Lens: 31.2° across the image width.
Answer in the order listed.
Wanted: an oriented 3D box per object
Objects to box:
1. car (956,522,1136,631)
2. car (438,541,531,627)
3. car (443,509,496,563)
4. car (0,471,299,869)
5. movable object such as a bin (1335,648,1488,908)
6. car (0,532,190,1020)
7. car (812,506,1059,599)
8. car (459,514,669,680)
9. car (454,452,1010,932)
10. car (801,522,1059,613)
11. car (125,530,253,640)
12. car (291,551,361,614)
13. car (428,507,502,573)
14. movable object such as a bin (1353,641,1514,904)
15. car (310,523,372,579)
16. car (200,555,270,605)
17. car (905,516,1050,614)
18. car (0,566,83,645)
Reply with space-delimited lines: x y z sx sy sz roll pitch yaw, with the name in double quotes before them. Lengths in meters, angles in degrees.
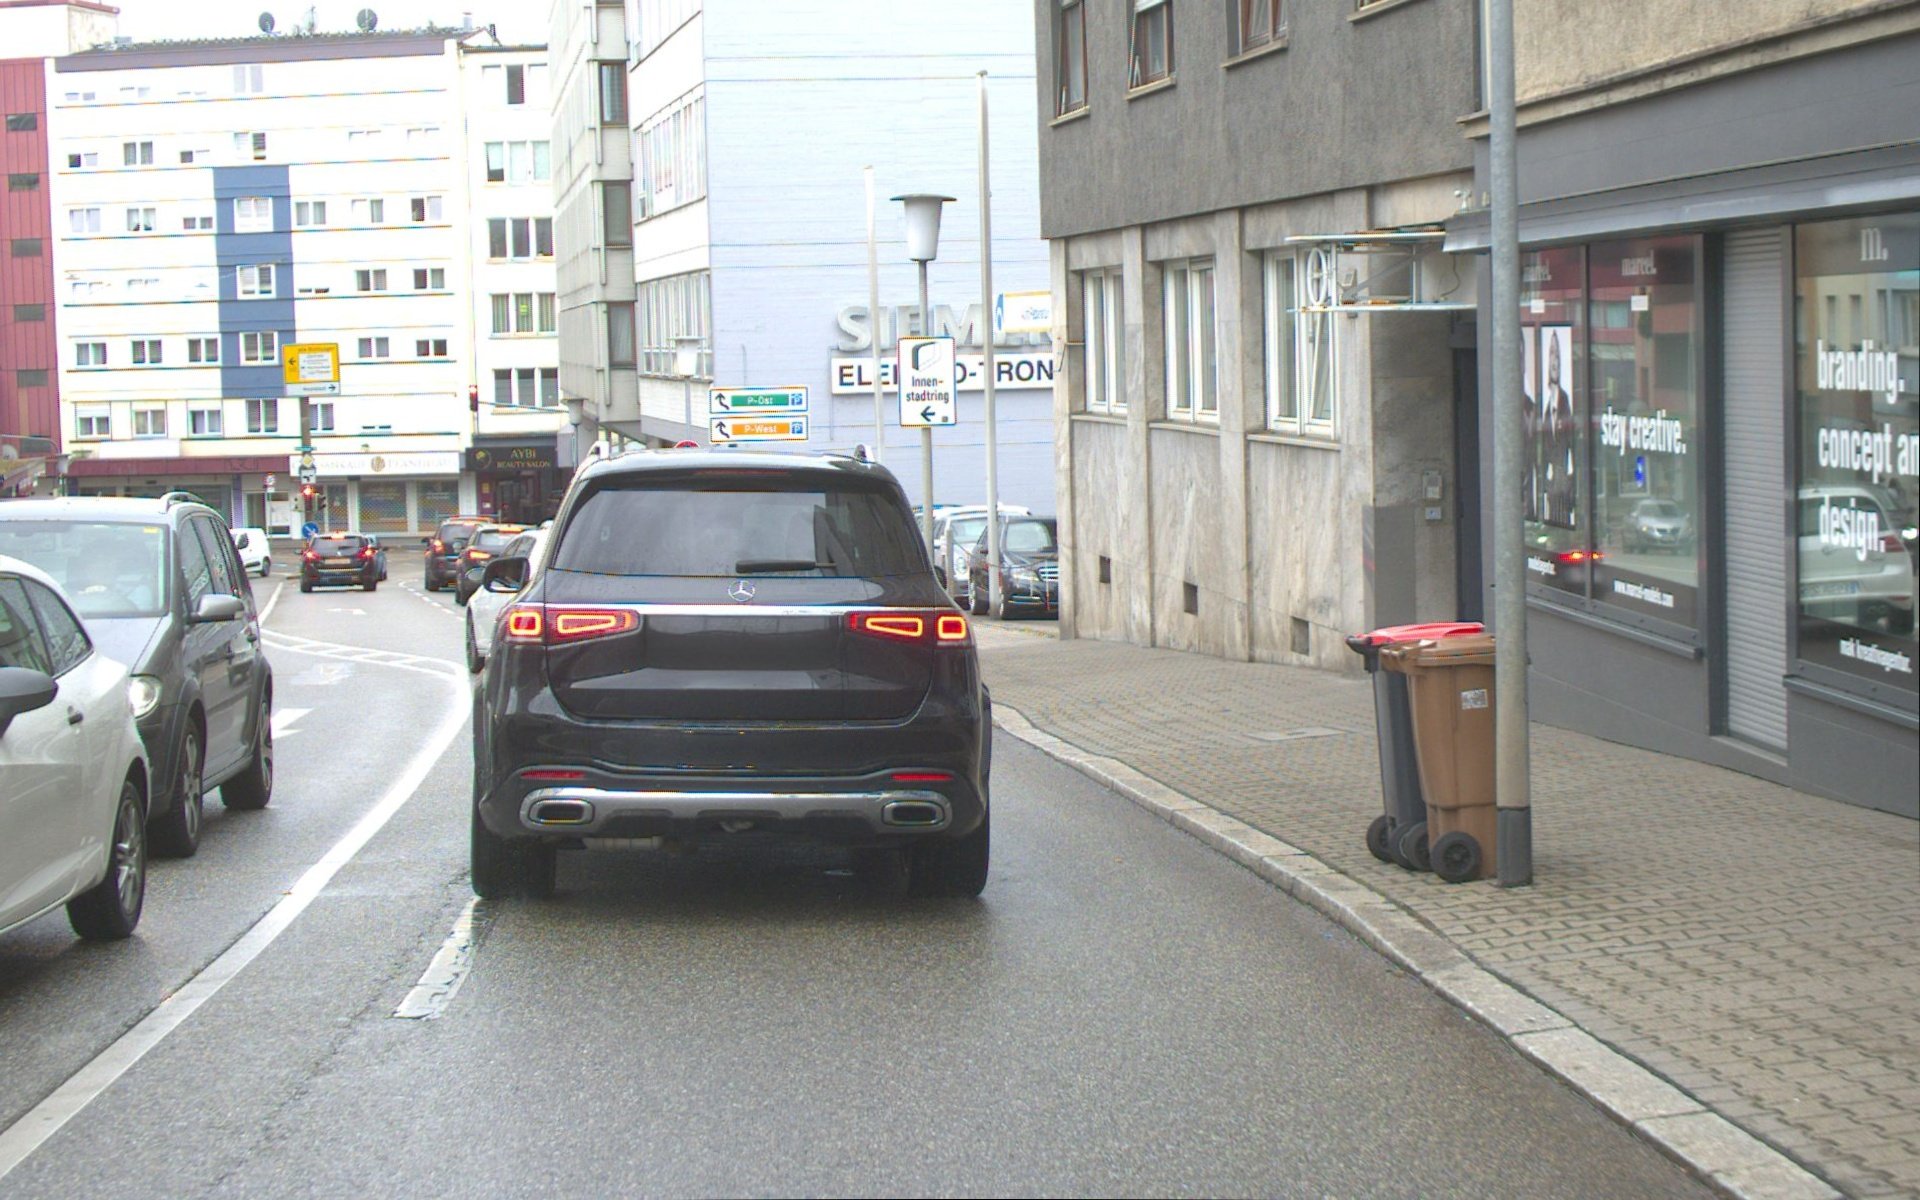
"car" 1.161 -0.366 48.468 1.796 1.472 4.486 0 1 -8
"car" -9.158 -0.329 66.029 1.522 1.543 3.108 -1 2 -12
"car" -14.558 -1.922 102.007 1.522 1.543 3.108 -1 2 -8
"car" -4.451 0.264 16.968 1.806 1.699 4.562 1 1 -4
"movable object such as a bin" 1.819 0.710 13.890 0.525 0.977 0.537 0 5 -1
"car" -3.760 0.509 11.111 1.698 1.475 4.291 1 1 -2
"car" -0.424 -0.818 60.633 3.986 1.592 1.799 0 0 -29
"car" -3.932 -0.080 33.632 1.830 1.456 4.380 -2 2 -9
"car" -1.071 0.284 14.977 2.020 1.733 4.748 -1 1 -6
"car" -0.497 -0.536 57.882 3.986 1.489 1.733 0 0 -29
"car" -11.502 -0.230 51.343 1.723 1.510 4.371 -3 1 -12
"car" -13.866 -0.393 75.303 1.285 1.120 2.788 -1 5 -6
"car" -11.904 -1.457 82.577 1.522 1.543 3.108 -1 2 -12
"movable object such as a bin" 1.828 0.661 13.321 0.525 0.947 0.537 0 5 -1
"car" -15.073 -1.206 83.736 1.285 1.120 2.788 -1 5 -6
"car" -20.828 -0.595 98.715 1.714 1.313 4.145 -2 2 -15
"car" 0.238 -0.578 53.849 1.565 1.472 4.071 0 1 -10
"car" -20.207 0.113 75.071 1.714 1.581 4.145 -4 1 -11
